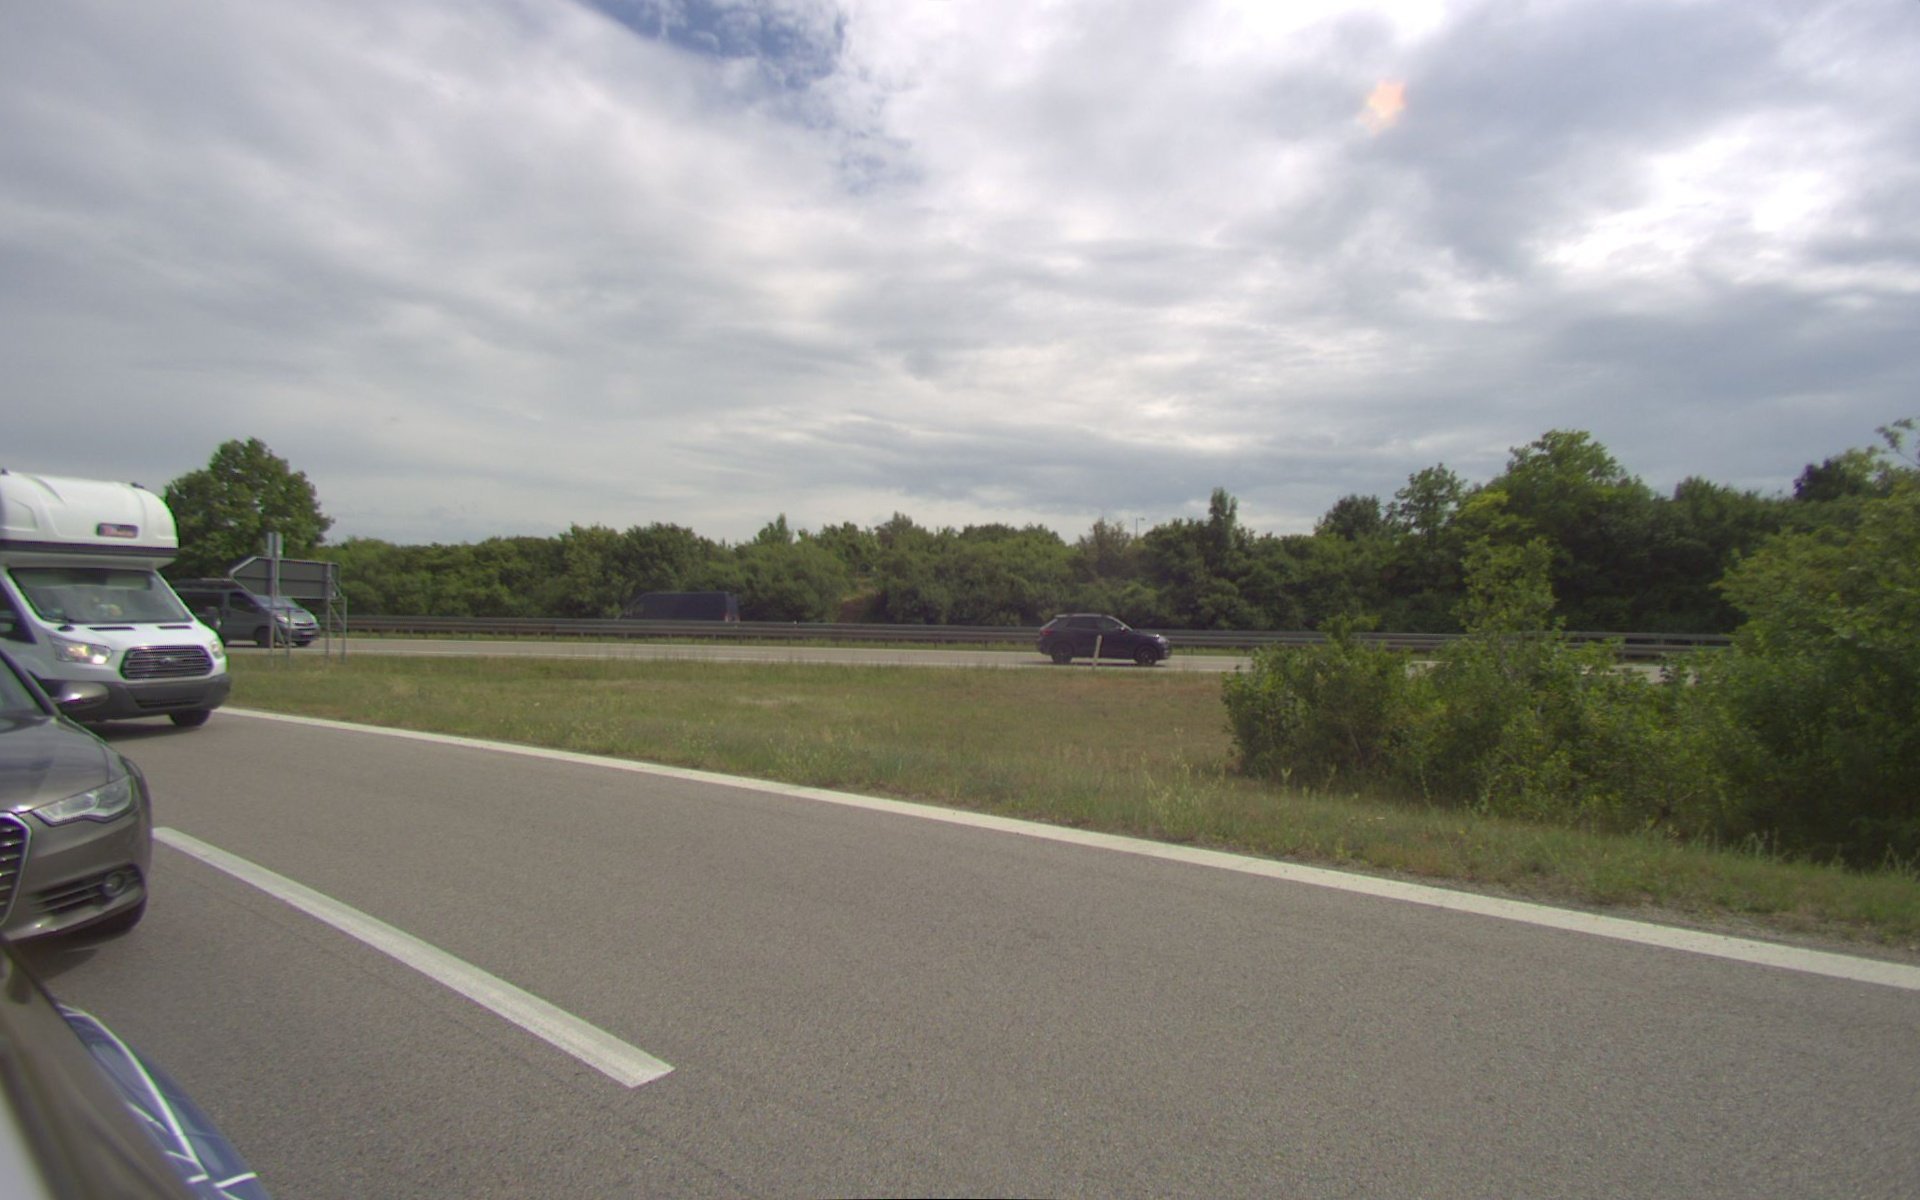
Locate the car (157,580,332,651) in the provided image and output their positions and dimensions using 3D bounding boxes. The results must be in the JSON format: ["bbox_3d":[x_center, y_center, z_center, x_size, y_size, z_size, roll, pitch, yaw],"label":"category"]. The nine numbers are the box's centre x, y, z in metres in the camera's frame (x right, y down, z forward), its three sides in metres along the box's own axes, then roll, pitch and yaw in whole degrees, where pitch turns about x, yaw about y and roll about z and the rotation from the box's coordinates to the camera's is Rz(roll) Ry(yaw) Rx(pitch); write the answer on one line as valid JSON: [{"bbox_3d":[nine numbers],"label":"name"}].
[{"bbox_3d":[-24.339,0.505,34.511,4.750,2.276,1.996,1,0,6],"label":"car"}]

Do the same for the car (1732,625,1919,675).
[{"bbox_3d":[27.576,1.557,32.159,4.406,1.434,1.995,1,0,8],"label":"car"}]

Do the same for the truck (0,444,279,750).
[{"bbox_3d":[-12.663,0.012,12.885,7.403,3.191,2.555,-1,0,17],"label":"truck"}]

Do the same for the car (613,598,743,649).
[{"bbox_3d":[-14.030,1.147,50.588,5.896,2.453,2.138,-1,0,7],"label":"car"}]

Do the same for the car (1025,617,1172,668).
[{"bbox_3d":[4.280,1.294,31.644,4.405,1.434,1.996,1,0,7],"label":"car"}]

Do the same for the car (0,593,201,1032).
[{"bbox_3d":[-5.332,0.767,4.659,4.534,1.526,1.973,-1,-1,40],"label":"car"}]
